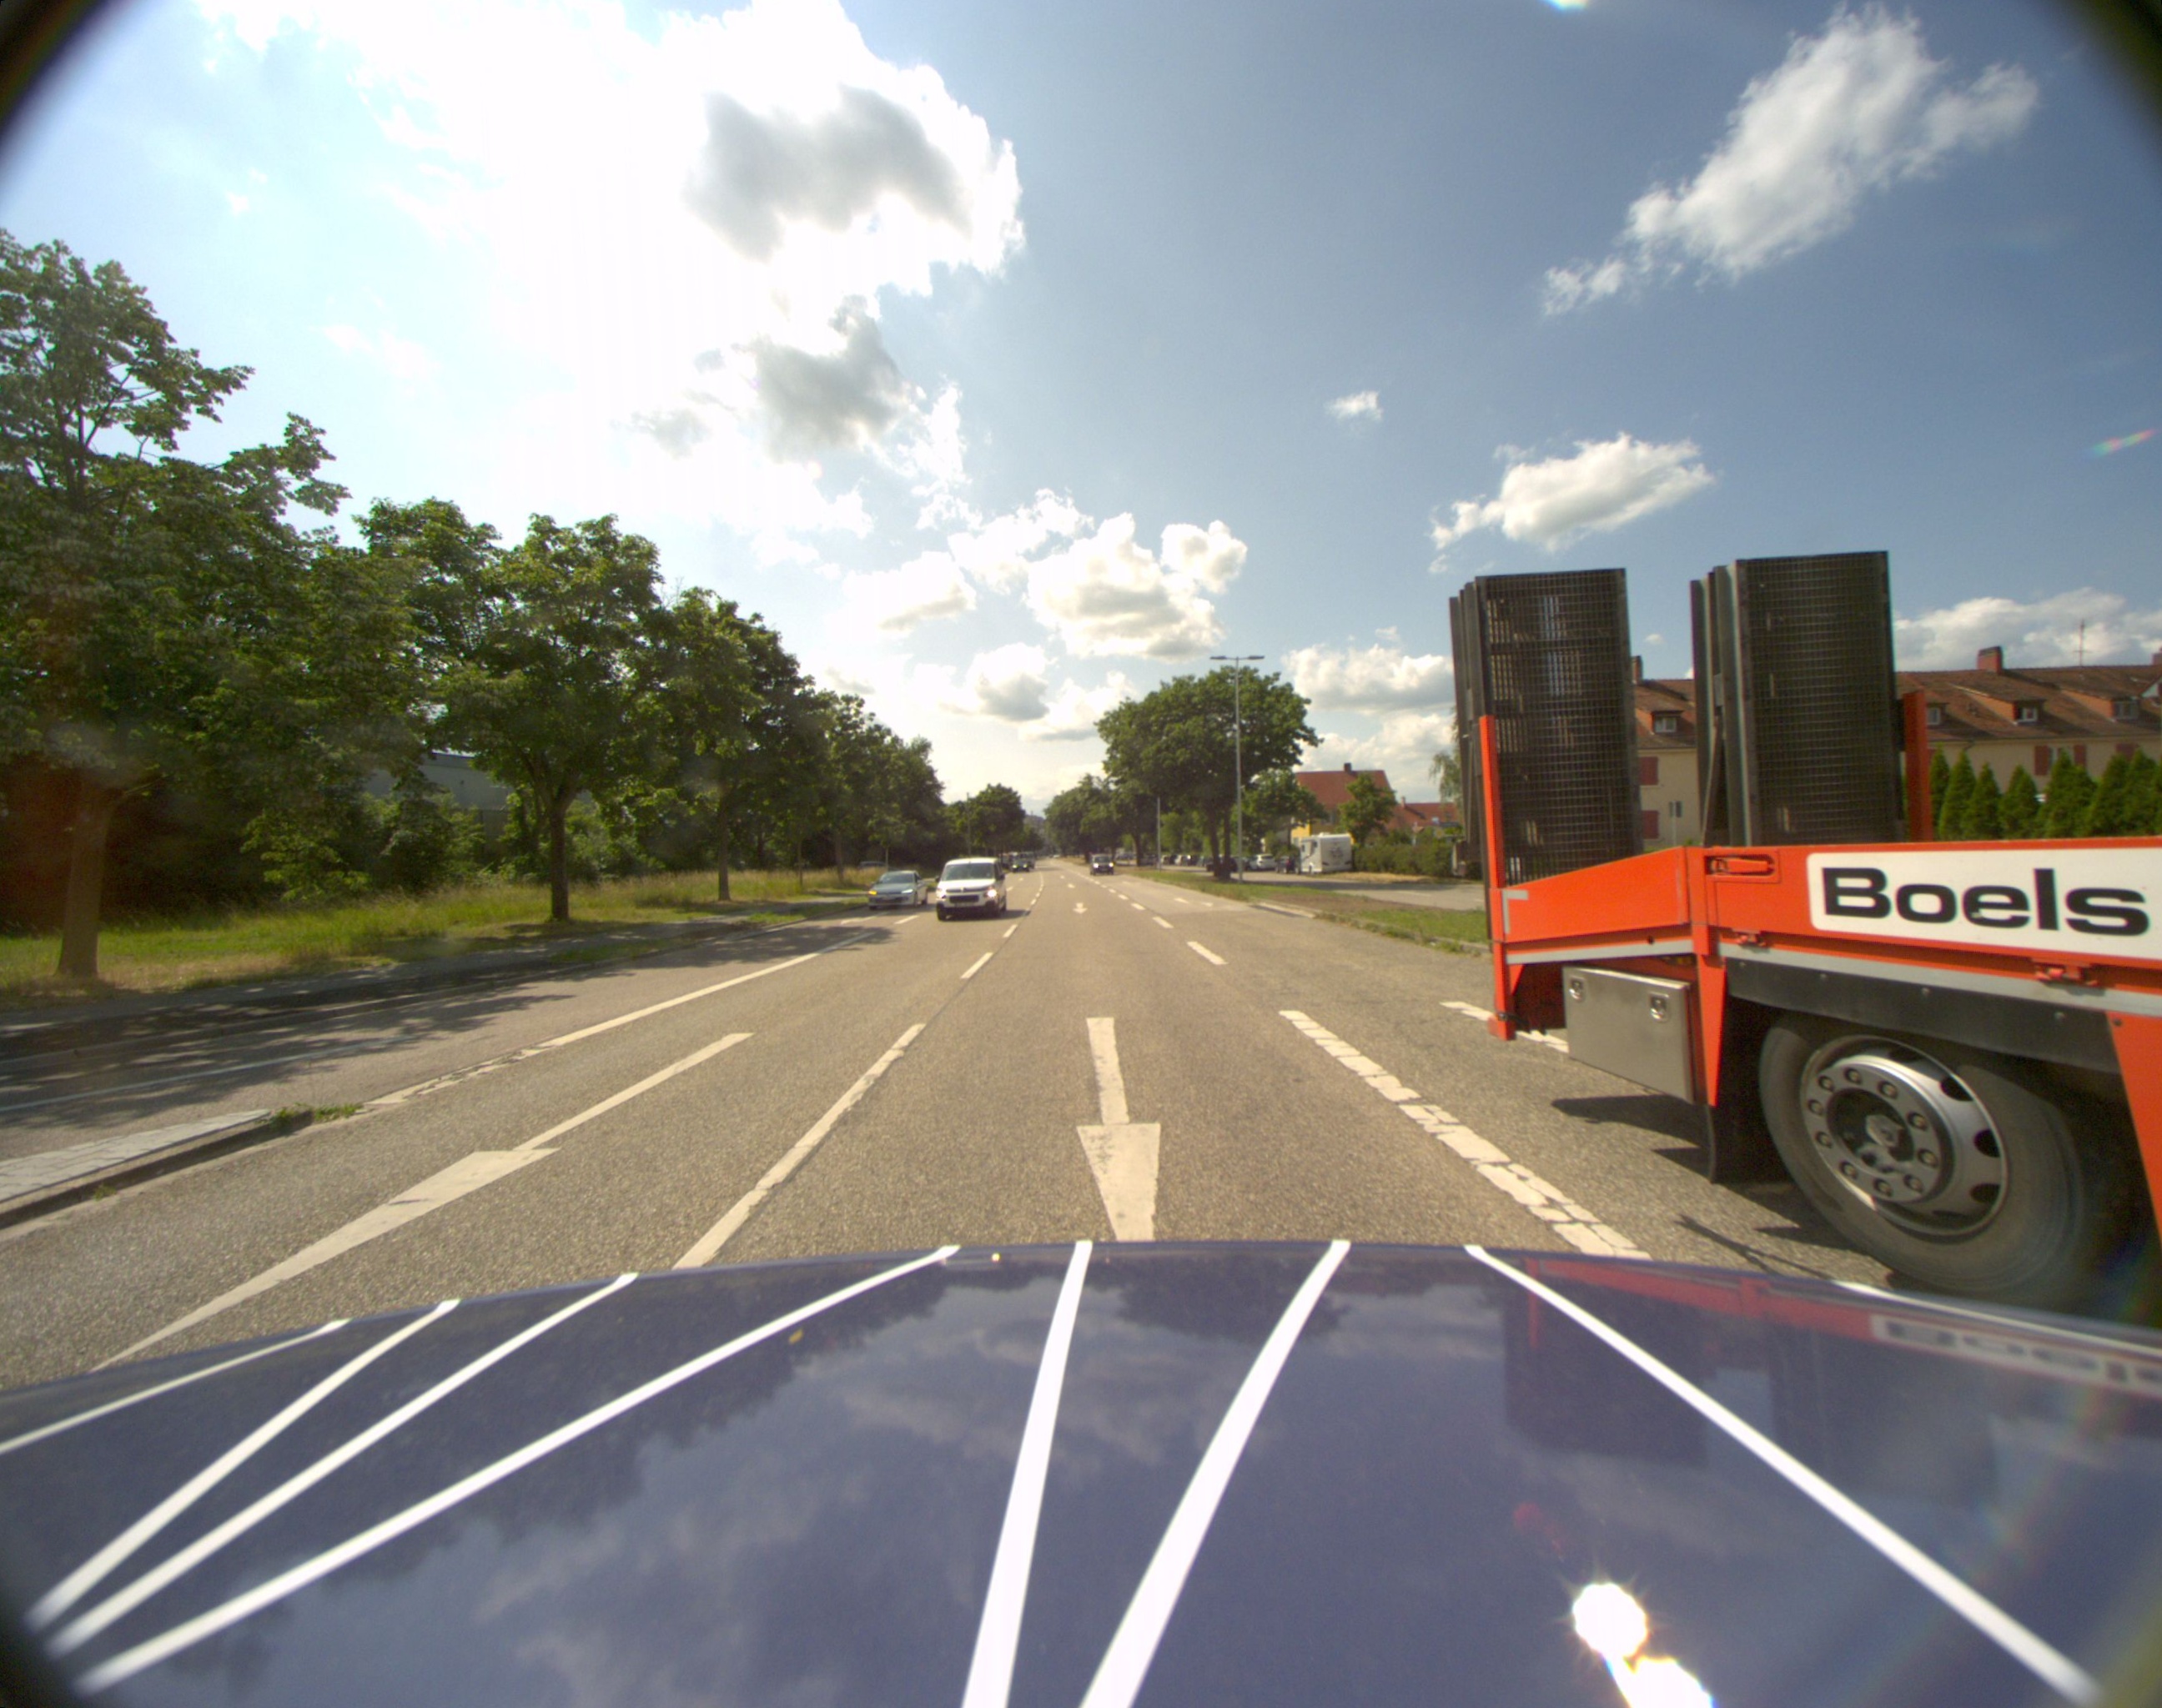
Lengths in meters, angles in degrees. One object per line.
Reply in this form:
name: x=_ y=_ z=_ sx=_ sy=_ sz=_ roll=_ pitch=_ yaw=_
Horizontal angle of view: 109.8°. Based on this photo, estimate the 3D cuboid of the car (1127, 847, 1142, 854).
car: x=13.650 y=-0.862 z=195.213 sx=1.569 sy=1.390 sz=4.007 roll=-2 pitch=2 yaw=44

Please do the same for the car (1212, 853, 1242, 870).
car: x=12.862 y=0.639 z=67.216 sx=1.776 sy=1.430 sz=4.575 roll=-1 pitch=1 yaw=-1

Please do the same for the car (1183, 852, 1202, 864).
car: x=15.481 y=0.586 z=105.508 sx=1.665 sy=1.473 sz=4.102 roll=-4 pitch=0 yaw=-4

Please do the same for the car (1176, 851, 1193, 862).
car: x=15.246 y=0.402 z=112.409 sx=1.665 sy=1.443 sz=3.845 roll=-4 pitch=1 yaw=-4

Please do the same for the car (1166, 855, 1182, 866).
car: x=14.639 y=0.975 z=120.032 sx=1.665 sy=1.603 sz=4.312 roll=-4 pitch=1 yaw=-4

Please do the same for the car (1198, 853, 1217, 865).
car: x=16.077 y=0.591 z=96.924 sx=1.567 sy=1.387 sz=3.476 roll=-4 pitch=1 yaw=-3

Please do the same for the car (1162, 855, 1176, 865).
car: x=14.650 y=1.052 z=126.454 sx=1.598 sy=1.453 sz=3.533 roll=-4 pitch=1 yaw=-4

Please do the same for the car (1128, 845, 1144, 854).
car: x=13.774 y=-1.173 z=189.836 sx=1.800 sy=2.002 sz=4.007 roll=-2 pitch=2 yaw=44

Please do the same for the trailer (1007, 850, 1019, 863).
trailer: x=-13.363 y=0.432 z=149.555 sx=1.999 sy=2.352 sz=4.780 roll=2 pitch=1 yaw=-3

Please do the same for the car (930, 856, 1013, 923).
car: x=-3.271 y=0.995 z=23.583 sx=1.936 sy=1.774 sz=4.715 roll=-4 pitch=0 yaw=-2

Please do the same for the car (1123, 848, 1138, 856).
car: x=12.899 y=-0.548 z=197.937 sx=1.800 sy=2.002 sz=4.007 roll=-2 pitch=2 yaw=44

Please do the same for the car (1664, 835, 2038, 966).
car: x=11.578 y=0.604 z=11.908 sx=1.799 sy=1.679 sz=3.999 roll=-1 pitch=0 yaw=-1

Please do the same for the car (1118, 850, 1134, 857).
car: x=11.916 y=-0.149 z=202.895 sx=3.998 sy=1.502 sz=1.799 roll=-4 pitch=1 yaw=-2

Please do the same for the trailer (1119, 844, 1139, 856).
trailer: x=13.522 y=-1.220 z=214.995 sx=2.821 sy=3.090 sz=5.763 roll=-3 pitch=0 yaw=35

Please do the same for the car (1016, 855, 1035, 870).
car: x=-6.638 y=0.996 z=91.073 sx=1.758 sy=1.482 sz=3.999 roll=-4 pitch=1 yaw=1

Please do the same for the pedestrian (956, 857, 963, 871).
pedestrian: x=-15.404 y=1.267 z=96.463 sx=0.719 sy=1.784 sz=0.739 roll=-4 pitch=2 yaw=-4

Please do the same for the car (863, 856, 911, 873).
car: x=-18.163 y=1.016 z=71.369 sx=4.176 sy=1.484 sz=1.784 roll=1 pitch=-2 yaw=-7

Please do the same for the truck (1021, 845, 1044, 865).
truck: x=-7.367 y=0.106 z=116.139 sx=2.848 sy=2.648 sz=7.350 roll=-4 pitch=1 yaw=1

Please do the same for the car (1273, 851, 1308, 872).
car: x=16.960 y=0.602 z=61.756 sx=1.640 sy=1.477 sz=3.991 roll=-4 pitch=1 yaw=-1

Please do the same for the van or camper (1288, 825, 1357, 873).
van or camper: x=17.236 y=-0.288 z=54.790 sx=2.265 sy=3.094 sz=7.319 roll=-4 pitch=0 yaw=-2

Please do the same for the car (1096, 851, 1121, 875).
car: x=2.357 y=0.761 z=65.865 sx=1.768 sy=1.893 sz=4.539 roll=-4 pitch=1 yaw=-1

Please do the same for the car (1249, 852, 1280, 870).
car: x=16.957 y=0.619 z=70.328 sx=1.693 sy=1.477 sz=4.123 roll=-4 pitch=1 yaw=-1

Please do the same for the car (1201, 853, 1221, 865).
car: x=15.829 y=0.601 z=92.511 sx=1.406 sy=1.387 sz=4.355 roll=-4 pitch=0 yaw=-3

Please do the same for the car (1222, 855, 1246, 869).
car: x=16.376 y=0.816 z=81.701 sx=1.515 sy=1.362 sz=4.530 roll=-4 pitch=0 yaw=-1

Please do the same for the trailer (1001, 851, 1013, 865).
trailer: x=-12.477 y=0.675 z=128.756 sx=1.958 sy=2.338 sz=4.603 roll=0 pitch=1 yaw=-5

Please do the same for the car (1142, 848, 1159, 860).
car: x=9.597 y=0.032 z=105.425 sx=1.737 sy=1.499 sz=4.650 roll=2 pitch=1 yaw=-2

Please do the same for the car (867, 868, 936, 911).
car: x=-7.079 y=1.353 z=30.370 sx=1.737 sy=1.477 sz=4.092 roll=-2 pitch=0 yaw=0
